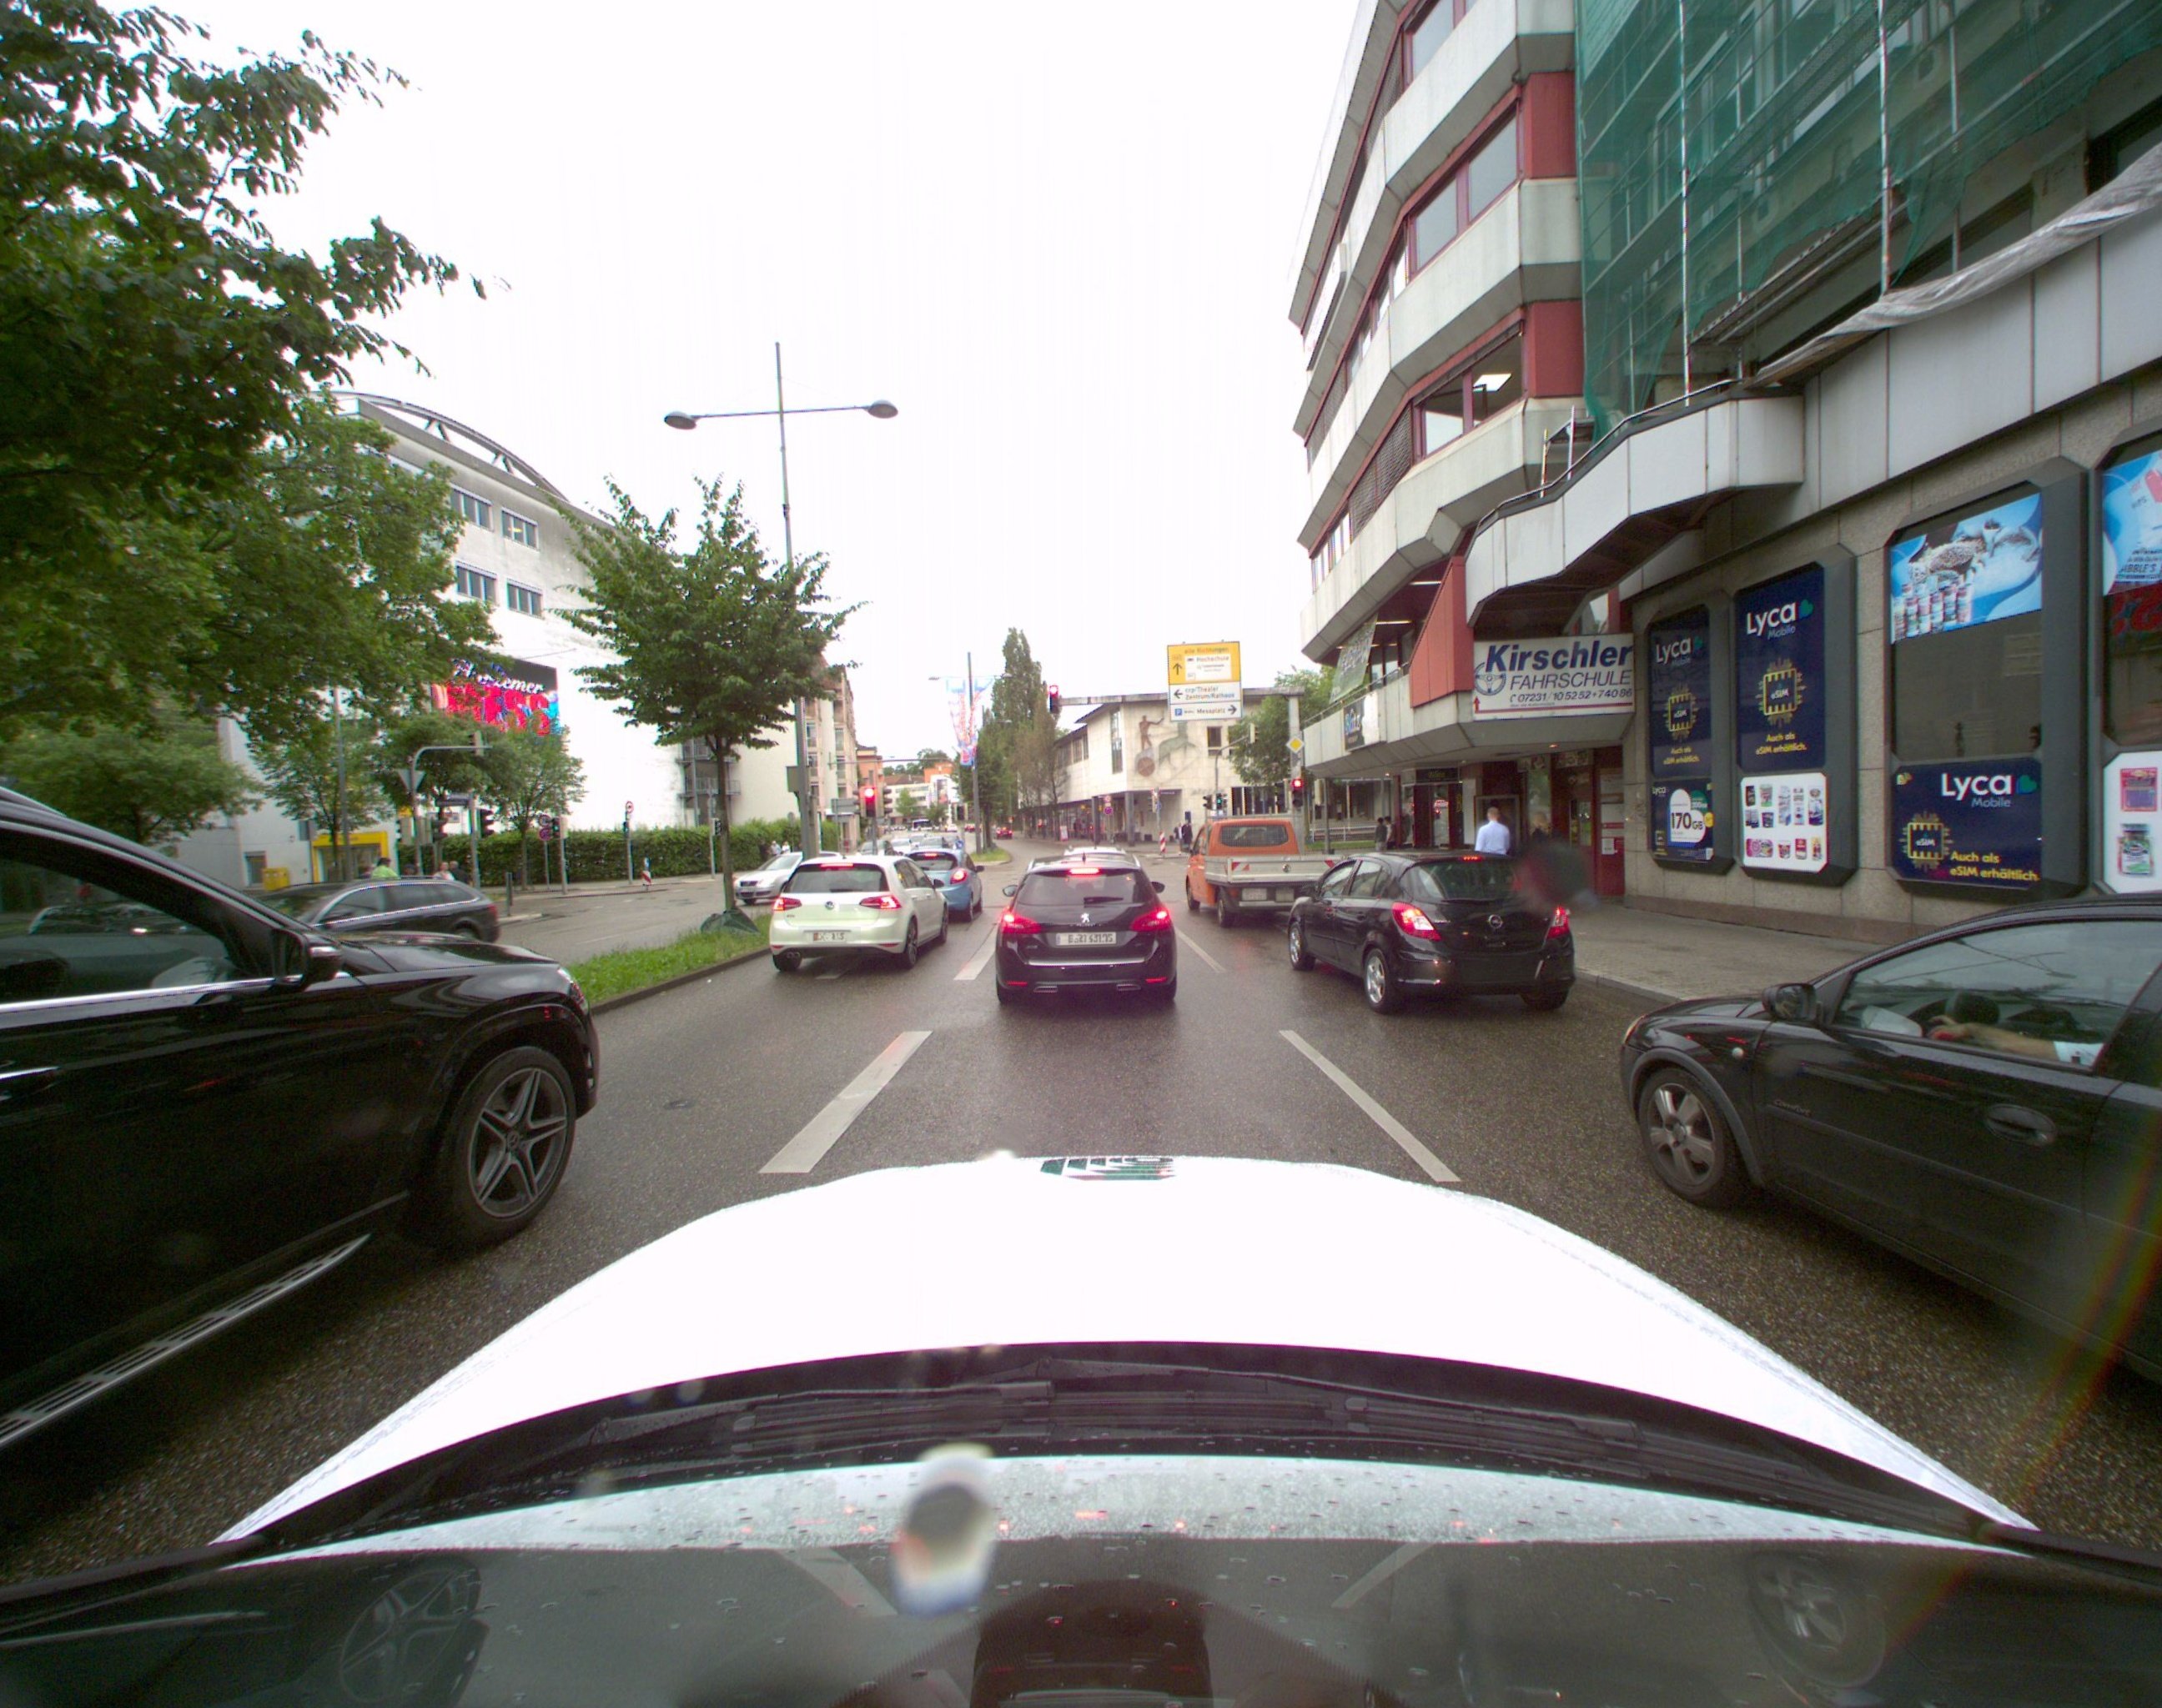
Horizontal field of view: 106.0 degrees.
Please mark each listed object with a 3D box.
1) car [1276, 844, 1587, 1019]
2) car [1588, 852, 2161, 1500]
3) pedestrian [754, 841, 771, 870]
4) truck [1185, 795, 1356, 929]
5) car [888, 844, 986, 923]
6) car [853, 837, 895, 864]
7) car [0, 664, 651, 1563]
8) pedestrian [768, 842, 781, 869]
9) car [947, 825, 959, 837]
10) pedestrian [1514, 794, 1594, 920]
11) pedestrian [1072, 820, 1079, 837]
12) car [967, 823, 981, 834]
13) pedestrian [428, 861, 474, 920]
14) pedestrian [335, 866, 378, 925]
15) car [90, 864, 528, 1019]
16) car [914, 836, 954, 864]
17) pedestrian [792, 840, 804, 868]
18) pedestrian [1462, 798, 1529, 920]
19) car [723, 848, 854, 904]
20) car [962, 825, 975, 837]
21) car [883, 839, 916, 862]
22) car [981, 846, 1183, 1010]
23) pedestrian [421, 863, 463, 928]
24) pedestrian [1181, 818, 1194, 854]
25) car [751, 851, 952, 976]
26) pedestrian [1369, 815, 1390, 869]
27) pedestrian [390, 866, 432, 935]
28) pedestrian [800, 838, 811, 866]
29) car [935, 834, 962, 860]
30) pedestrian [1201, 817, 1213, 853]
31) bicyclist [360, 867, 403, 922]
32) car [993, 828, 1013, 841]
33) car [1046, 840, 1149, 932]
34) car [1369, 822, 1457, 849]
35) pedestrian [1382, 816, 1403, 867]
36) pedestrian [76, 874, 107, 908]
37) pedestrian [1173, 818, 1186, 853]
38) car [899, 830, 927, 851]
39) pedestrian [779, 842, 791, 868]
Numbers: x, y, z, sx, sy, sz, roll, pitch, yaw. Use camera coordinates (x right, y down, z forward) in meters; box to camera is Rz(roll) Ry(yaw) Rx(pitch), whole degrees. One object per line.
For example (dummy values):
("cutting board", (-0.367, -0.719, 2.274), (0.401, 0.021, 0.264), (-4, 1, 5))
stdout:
("car", (3.377, 0.619, 8.681), (1.611, 1.429, 3.840), (-1, 1, -1))
("car", (3.277, 0.741, 2.291), (1.600, 1.429, 3.626), (-1, 1, 3))
("pedestrian", (-18.334, 0.112, 46.901), (0.634, 1.643, 0.735), (-1, -1, 5))
("truck", (3.438, 0.078, 15.897), (2.170, 2.172, 5.020), (-1, 1, 0))
("car", (-3.018, 0.552, 17.706), (1.629, 1.486, 3.606), (-1, 1, -3))
("car", (-11.999, -0.228, 47.503), (1.569, 1.486, 3.608), (-1, 1, -1))
("car", (-3.209, 0.548, 1.661), (1.905, 1.870, 5.073), (-1, -1, 1))
("pedestrian", (-18.534, 0.088, 49.259), (0.579, 1.599, 0.526), (-1, -1, -5))
("car", (-23.124, -4.143, 146.876), (1.709, 1.882, 3.979), (0, -1, -15))
("pedestrian", (7.665, 0.050, 13.225), (0.733, 1.934, 0.640), (-5, -1, 1))
("pedestrian", (-0.553, -2.569, 82.956), (0.469, 1.748, 0.537), (0, -1, -19))
("car", (-17.936, -4.266, 136.060), (1.728, 1.490, 4.707), (0, -1, -16))
("pedestrian", (-18.513, 1.050, 23.949), (0.750, 1.661, 0.628), (-2, 2, 1))
("pedestrian", (-21.393, 1.227, 24.066), (0.637, 1.666, 0.580), (-2, 2, 1))
("car", (-10.536, 1.042, 11.791), (1.627, 1.485, 4.740), (-4, 2, 1))
("car", (-8.656, -0.203, 48.297), (1.739, 1.579, 3.997), (-1, -1, -1))
("pedestrian", (-17.556, 0.010, 50.606), (0.538, 1.748, 0.745), (-1, -1, -7))
("pedestrian", (6.756, 0.078, 13.307), (0.733, 1.935, 0.640), (-1, -1, 1))
("car", (-8.769, 0.627, 24.738), (1.619, 1.468, 3.772), (-5, -1, 20))
("car", (-20.443, -4.182, 148.032), (1.709, 1.936, 3.979), (0, -1, -15))
("car", (-12.062, -0.254, 54.388), (1.630, 1.486, 3.604), (-1, 1, -4))
("car", (0.086, 0.638, 9.143), (1.771, 1.429, 3.845), (-1, 1, 2))
("pedestrian", (-17.030, 1.095, 21.716), (0.555, 1.661, 0.580), (-2, 2, 2))
("pedestrian", (5.810, -0.970, 44.497), (0.633, 1.897, 0.735), (-1, -1, 8))
("car", (-3.037, 0.705, 11.627), (1.772, 1.429, 3.841), (-1, 1, 0))
("pedestrian", (9.594, -0.375, 26.151), (0.424, 1.682, 0.450), (-3, -1, 0))
("pedestrian", (-16.764, 1.145, 20.382), (0.552, 1.661, 0.583), (-1, 2, 33))
("pedestrian", (-17.670, -0.114, 52.216), (0.538, 1.748, 0.564), (-1, -1, -3))
("car", (-8.945, -0.430, 55.177), (1.743, 1.640, 3.988), (-1, -1, -9))
("pedestrian", (6.846, -1.020, 44.285), (0.633, 1.897, 0.735), (-1, -1, 8))
("bicyclist", (-20.159, 1.157, 23.471), (0.629, 1.530, 0.609), (-3, -1, 1))
("car", (-9.583, -2.389, 99.841), (1.790, 1.454, 4.485), (-5, 3, -14))
("car", (0.333, 0.504, 15.433), (1.690, 1.486, 3.795), (-1, 1, 2))
("car", (16.472, -0.905, 40.525), (3.669, 1.212, 1.839), (-1, -1, 6))
("pedestrian", (10.158, -0.405, 26.556), (0.395, 1.640, 0.504), (-3, -1, 2))
("pedestrian", (-48.268, 1.805, 39.728), (0.633, 1.643, 0.735), (-1, -1, 8))
("pedestrian", (5.137, -0.967, 42.445), (0.633, 1.758, 0.735), (-1, -1, 8))
("car", (-12.627, -1.013, 61.426), (1.630, 1.486, 3.604), (-1, 1, -4))
("pedestrian", (-18.289, 0.076, 50.336), (0.579, 1.599, 0.526), (-1, -1, -5))
